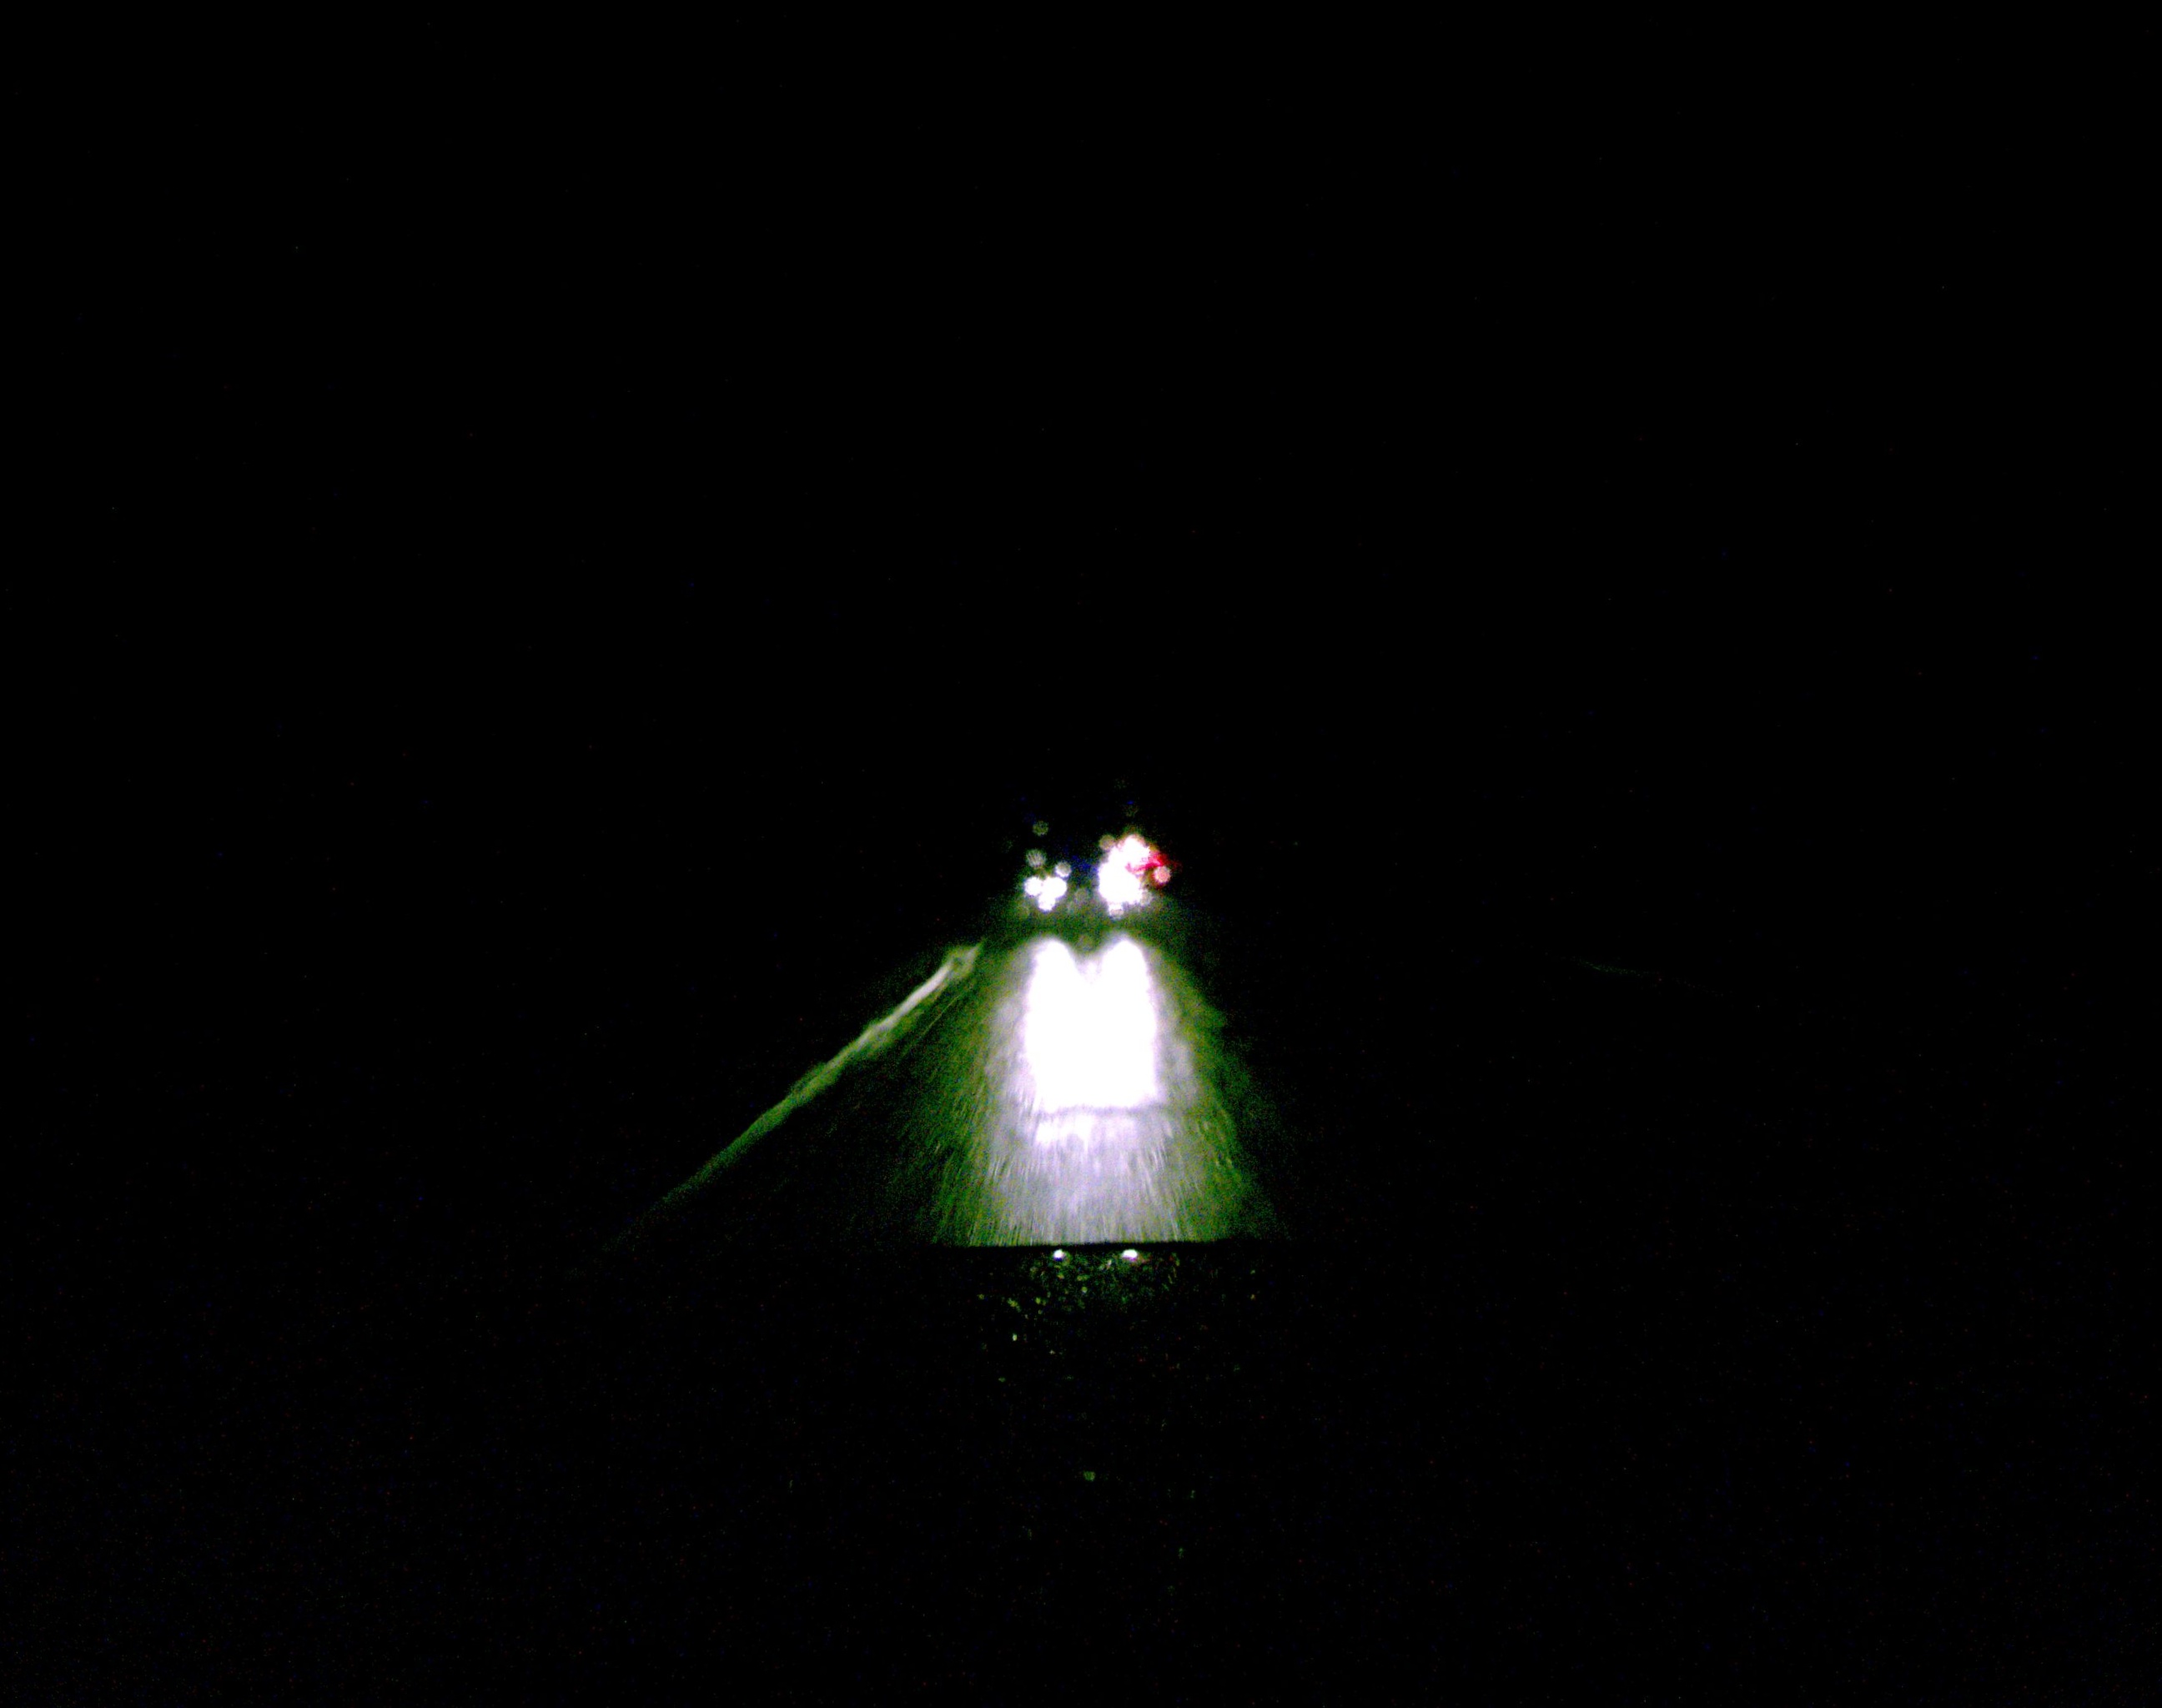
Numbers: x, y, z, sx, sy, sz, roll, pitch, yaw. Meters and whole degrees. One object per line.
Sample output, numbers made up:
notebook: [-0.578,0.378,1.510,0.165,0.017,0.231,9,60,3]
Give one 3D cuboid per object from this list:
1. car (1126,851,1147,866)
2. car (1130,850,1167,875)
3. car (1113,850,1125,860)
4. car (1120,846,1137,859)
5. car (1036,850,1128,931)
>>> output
car: [5.780,0.454,79.734,1.842,1.537,4.257,-2,0,0]
car: [4.342,0.500,49.319,1.908,1.461,4.274,-3,1,0]
car: [6.208,0.181,124.762,1.845,1.565,4.000,-2,1,3]
car: [6.273,-0.246,101.561,1.956,1.646,4.123,-1,0,-1]
car: [0.122,0.743,17.601,1.845,1.565,4.000,-2,1,3]
